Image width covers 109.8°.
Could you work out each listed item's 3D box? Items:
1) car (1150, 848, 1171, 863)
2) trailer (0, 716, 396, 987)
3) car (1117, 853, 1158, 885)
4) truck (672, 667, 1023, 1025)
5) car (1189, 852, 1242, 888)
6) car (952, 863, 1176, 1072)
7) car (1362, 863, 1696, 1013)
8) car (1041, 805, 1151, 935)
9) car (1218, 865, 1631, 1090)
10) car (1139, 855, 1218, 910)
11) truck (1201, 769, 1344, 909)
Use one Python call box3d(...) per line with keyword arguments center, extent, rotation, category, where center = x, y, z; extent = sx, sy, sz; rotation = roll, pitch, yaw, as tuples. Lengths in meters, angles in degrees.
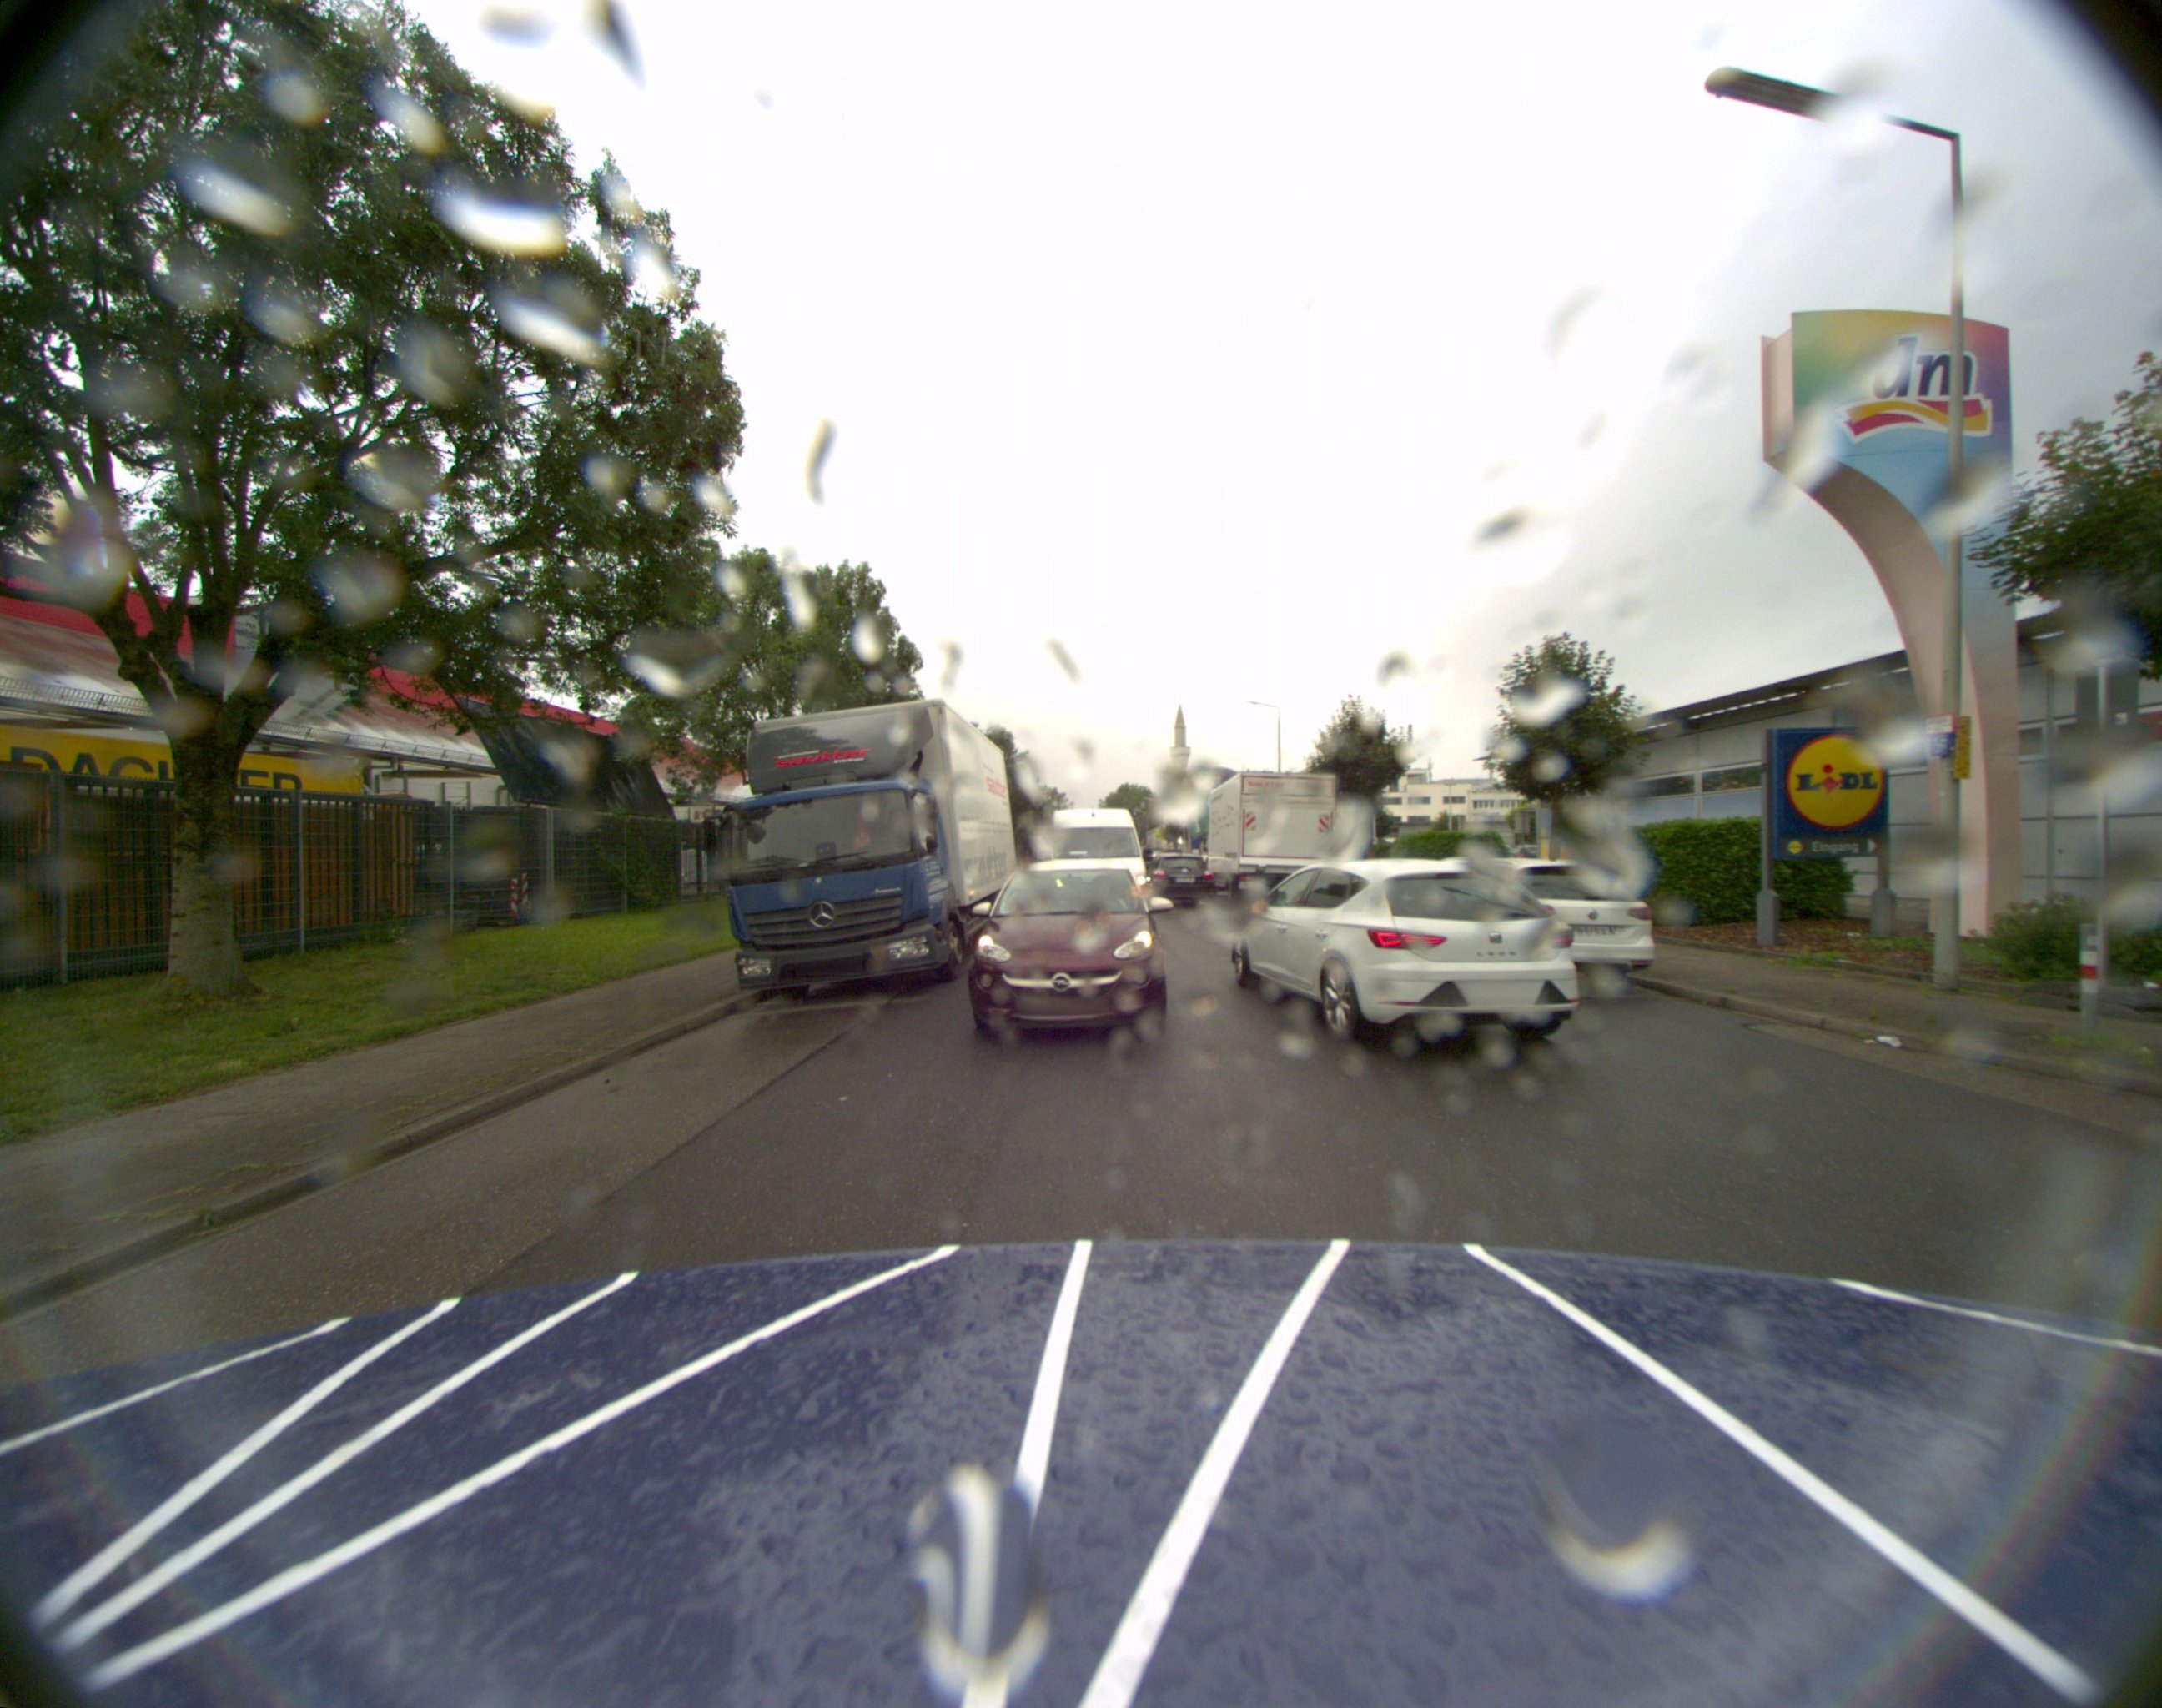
box3d(center=(7.382, 0.161, 70.972), extent=(1.579, 1.333, 3.610), rotation=(-1, 0, 0), category="car")
box3d(center=(-18.240, -0.070, 13.642), extent=(2.974, 4.219, 9.469), rotation=(-1, 2, 1), category="trailer")
box3d(center=(2.682, 0.702, 36.666), extent=(1.615, 1.430, 3.407), rotation=(1, 1, -1), category="car")
box3d(center=(-2.799, -0.098, 12.119), extent=(2.678, 3.670, 8.009), rotation=(-4, 0, 2), category="truck")
box3d(center=(5.790, 0.668, 33.135), extent=(1.691, 1.457, 3.513), rotation=(-1, 0, 0), category="car")
box3d(center=(-0.098, 0.879, 7.528), extent=(1.637, 1.447, 3.577), rotation=(-2, 1, 1), category="car")
box3d(center=(5.396, 0.882, 9.999), extent=(1.840, 1.426, 4.492), rotation=(1, 0, 2), category="car")
box3d(center=(0.271, 0.292, 17.351), extent=(2.085, 2.466, 5.346), rotation=(-1, 0, -1), category="car")
box3d(center=(2.706, 0.848, 7.127), extent=(1.736, 1.432, 3.997), rotation=(0, 0, -6), category="car")
box3d(center=(2.762, 0.766, 22.294), extent=(1.735, 1.432, 3.999), rotation=(0, 0, -1), category="car")
box3d(center=(5.769, -0.413, 24.333), extent=(2.888, 3.724, 7.868), rotation=(-1, 0, 2), category="truck")
